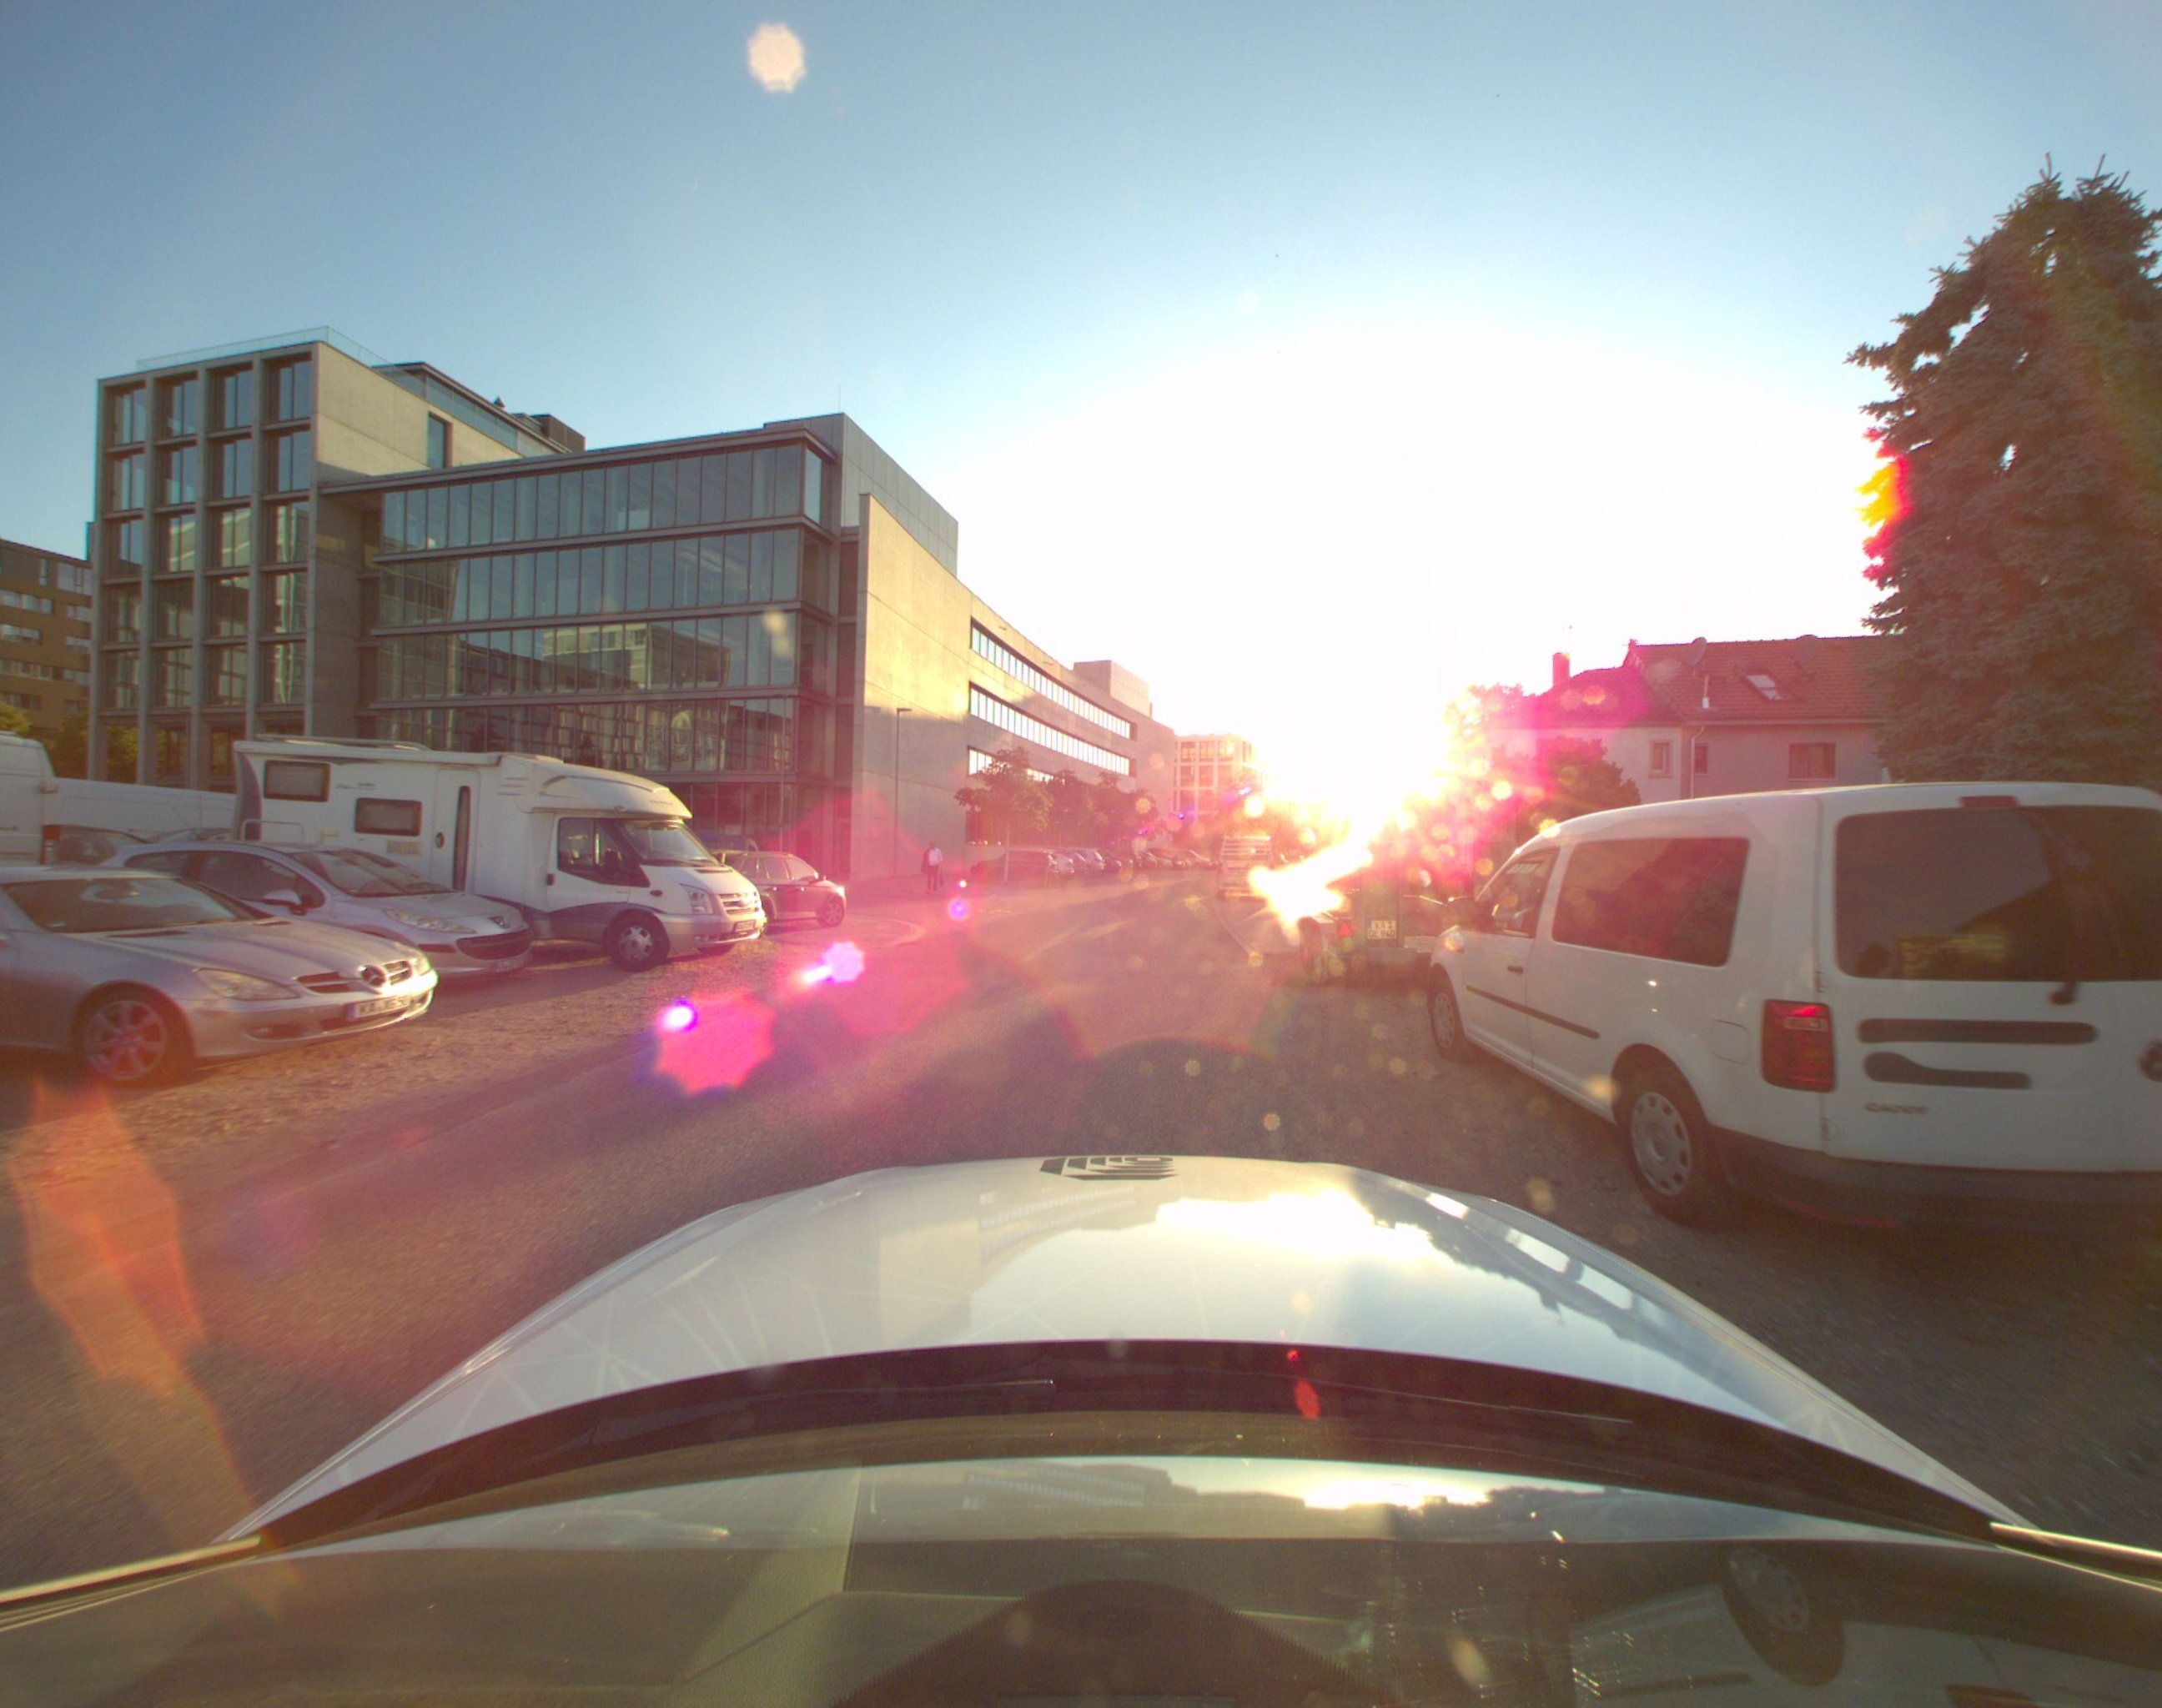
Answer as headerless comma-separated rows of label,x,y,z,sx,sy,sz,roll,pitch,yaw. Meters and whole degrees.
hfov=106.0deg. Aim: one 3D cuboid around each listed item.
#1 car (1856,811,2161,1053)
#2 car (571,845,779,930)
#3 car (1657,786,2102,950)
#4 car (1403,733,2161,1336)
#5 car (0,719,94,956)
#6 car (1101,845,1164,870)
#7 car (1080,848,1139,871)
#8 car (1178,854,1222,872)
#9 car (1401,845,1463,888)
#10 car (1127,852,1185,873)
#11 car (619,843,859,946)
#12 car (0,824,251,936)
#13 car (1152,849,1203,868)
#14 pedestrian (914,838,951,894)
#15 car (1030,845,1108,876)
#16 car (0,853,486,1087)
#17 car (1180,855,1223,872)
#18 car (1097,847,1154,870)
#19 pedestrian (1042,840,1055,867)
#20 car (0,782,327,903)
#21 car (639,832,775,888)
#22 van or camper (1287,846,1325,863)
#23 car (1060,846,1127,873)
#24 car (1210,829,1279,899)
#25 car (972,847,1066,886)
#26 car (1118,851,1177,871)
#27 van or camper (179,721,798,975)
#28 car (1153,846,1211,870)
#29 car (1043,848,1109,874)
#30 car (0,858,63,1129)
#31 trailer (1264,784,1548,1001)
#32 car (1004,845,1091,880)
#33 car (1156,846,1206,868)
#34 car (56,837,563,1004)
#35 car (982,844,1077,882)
car,7.754,0.520,5.685,1.624,1.519,3.916,0,-2,13
car,-7.776,0.578,16.036,1.651,1.422,3.734,1,0,12
car,14.307,0.134,15.083,5.521,2.692,2.062,1,2,16
car,3.404,0.533,4.675,1.762,1.831,4.415,0,0,6
car,-15.289,-0.298,9.204,6.207,2.673,2.228,2,0,8
car,3.793,0.241,59.878,4.276,1.696,1.904,1,0,16
car,1.931,0.392,55.435,3.675,1.457,1.718,1,0,15
car,11.727,0.901,80.208,3.954,1.522,1.614,3,0,20
car,12.533,0.410,29.272,1.517,1.444,3.654,0,0,15
car,6.282,0.725,68.091,4.358,1.499,1.773,3,0,24
car,-5.953,0.647,14.859,1.674,1.519,4.377,2,0,14
car,-14.709,0.334,12.104,3.419,1.447,1.518,2,0,8
car,8.553,0.407,72.338,4.109,1.404,1.733,3,0,20
pedestrian,-5.032,0.387,27.613,0.907,1.850,0.846,0,1,-45
car,-0.662,0.336,45.120,3.959,1.511,1.766,2,1,13
car,-6.926,0.728,5.989,3.794,1.328,1.693,2,0,1
car,12.173,0.930,82.301,3.853,1.488,1.660,3,0,22
car,3.181,0.320,57.708,3.674,1.457,1.686,1,0,16
pedestrian,-2.169,-0.041,54.480,0.641,1.784,0.728,2,0,14
car,-25.376,-0.344,22.215,2.192,2.801,7.008,2,1,12
car,-13.278,0.160,29.012,4.058,1.831,1.854,1,2,12
van or camper,34.889,0.052,126.404,5.401,2.483,1.786,2,1,29
car,0.788,0.297,50.582,3.842,1.511,1.767,2,1,14
car,5.457,0.284,27.225,2.052,2.095,4.887,0,0,11
car,-2.645,0.505,35.172,3.713,1.482,1.774,2,1,8
car,5.362,0.523,65.808,4.396,1.464,1.772,1,1,20
van or camper,-7.707,-0.097,11.137,6.711,2.897,2.411,2,0,3
car,9.628,0.389,77.443,5.033,1.946,1.898,3,0,21
car,-0.289,0.410,48.579,3.611,1.361,1.690,2,1,9
car,-7.343,0.652,3.475,3.715,1.367,1.705,2,0,-1
trailer,3.910,0.370,10.961,2.055,2.211,5.228,0,0,4
car,-1.629,0.417,40.211,3.975,1.512,1.589,2,2,8
car,9.131,0.282,74.461,4.212,1.742,1.733,3,0,20
car,-7.877,0.639,8.618,3.595,1.476,1.691,2,0,-2
car,-2.373,0.396,37.953,4.063,1.528,1.850,2,0,8
